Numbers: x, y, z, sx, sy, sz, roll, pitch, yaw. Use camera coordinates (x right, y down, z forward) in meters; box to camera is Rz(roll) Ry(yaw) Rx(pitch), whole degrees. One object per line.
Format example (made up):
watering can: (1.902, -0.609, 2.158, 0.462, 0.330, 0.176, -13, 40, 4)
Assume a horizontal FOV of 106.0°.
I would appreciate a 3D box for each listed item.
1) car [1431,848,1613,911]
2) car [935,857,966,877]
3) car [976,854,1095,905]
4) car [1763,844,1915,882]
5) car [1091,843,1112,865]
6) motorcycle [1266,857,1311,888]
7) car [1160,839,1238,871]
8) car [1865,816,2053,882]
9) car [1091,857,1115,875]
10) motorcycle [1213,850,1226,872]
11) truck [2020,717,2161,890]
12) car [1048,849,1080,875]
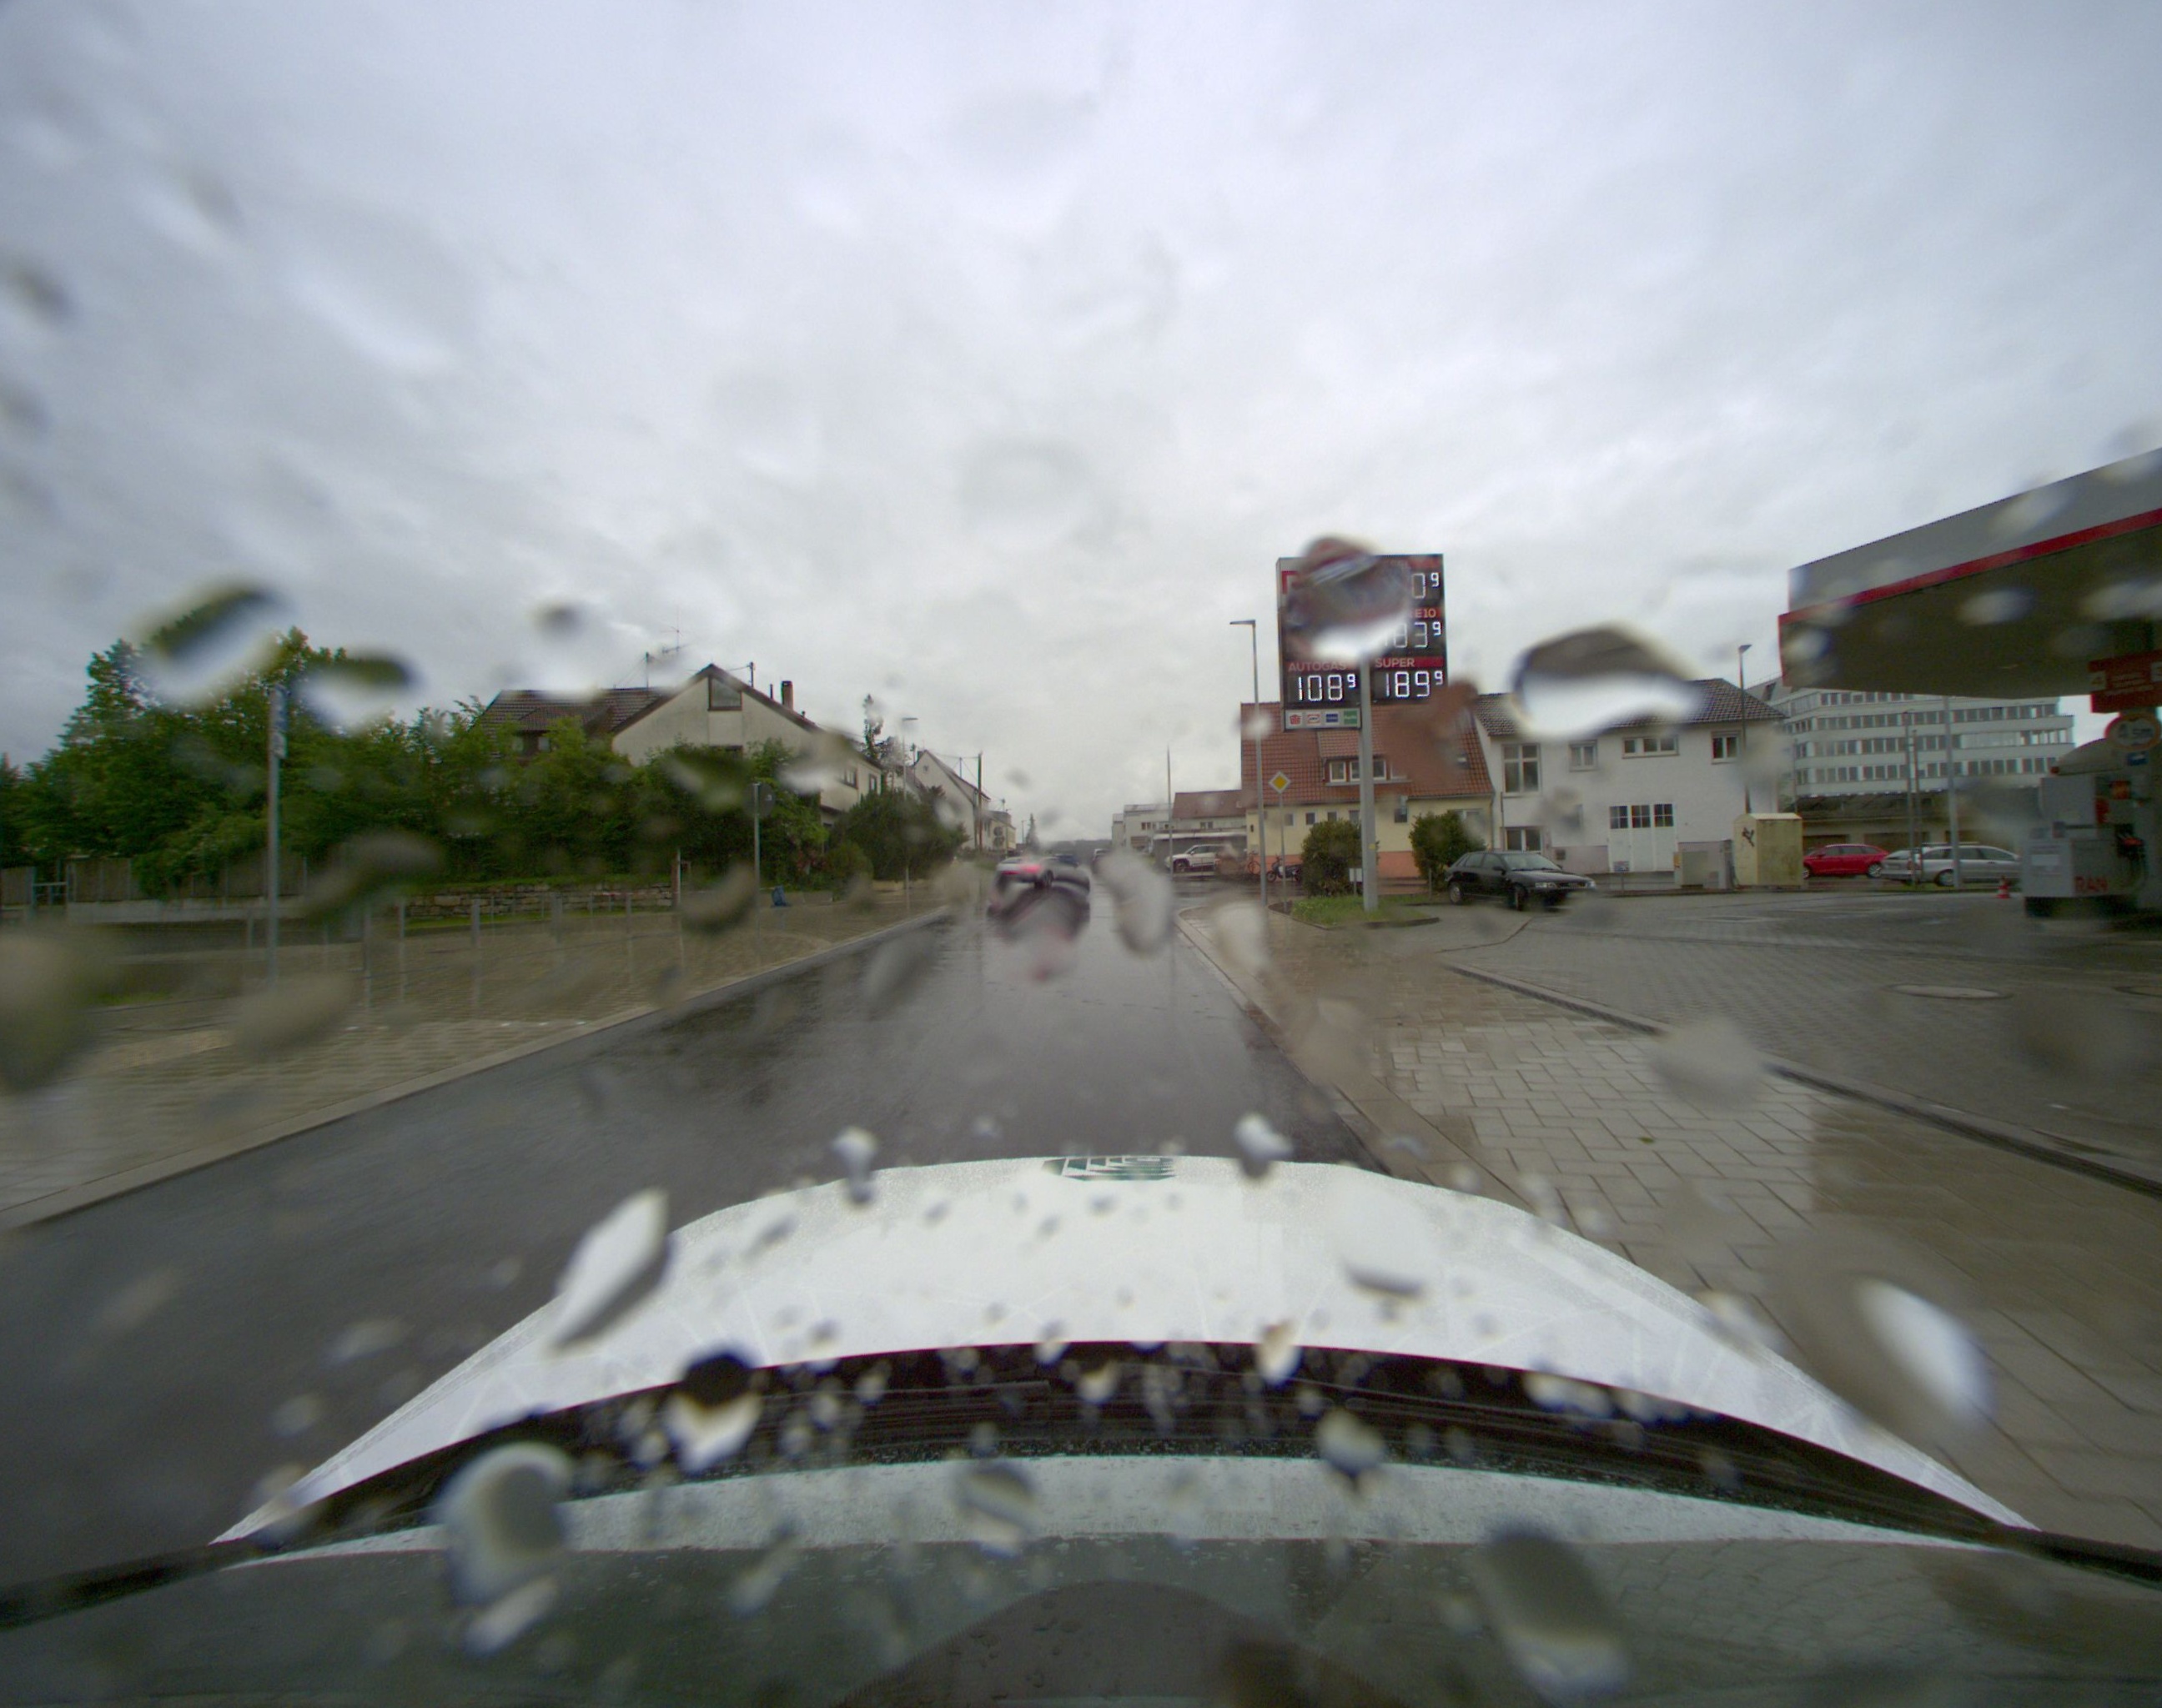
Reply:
car: (10.699, 0.574, 20.166, 1.688, 1.339, 4.327, -1, 0, -9)
car: (-10.303, 1.048, 64.300, 1.772, 1.467, 3.458, -1, -1, 1)
car: (-1.391, 0.799, 27.075, 1.975, 1.502, 4.696, -2, 0, 24)
car: (31.558, 0.350, 34.022, 4.219, 1.376, 2.006, -2, 0, 10)
car: (1.779, 0.015, 70.957, 1.763, 1.825, 4.574, -1, 0, 0)
motorcycle: (9.877, 0.894, 38.814, 2.019, 1.456, 0.491, -1, -1, 13)
car: (6.917, 0.057, 48.064, 4.204, 1.610, 1.860, -4, -1, -1)
car: (29.525, -0.150, 27.505, 3.967, 2.013, 2.003, -2, 0, 5)
car: (1.710, 0.908, 64.262, 1.763, 1.336, 4.320, -1, 0, 0)
motorcycle: (7.165, 0.362, 42.125, 0.485, 1.096, 2.003, -1, 1, 5)
truck: (27.707, -1.123, 18.368, 14.393, 3.359, 2.634, -1, 2, -16)
car: (-1.032, 0.473, 51.945, 1.922, 1.539, 4.320, -1, 0, 0)
